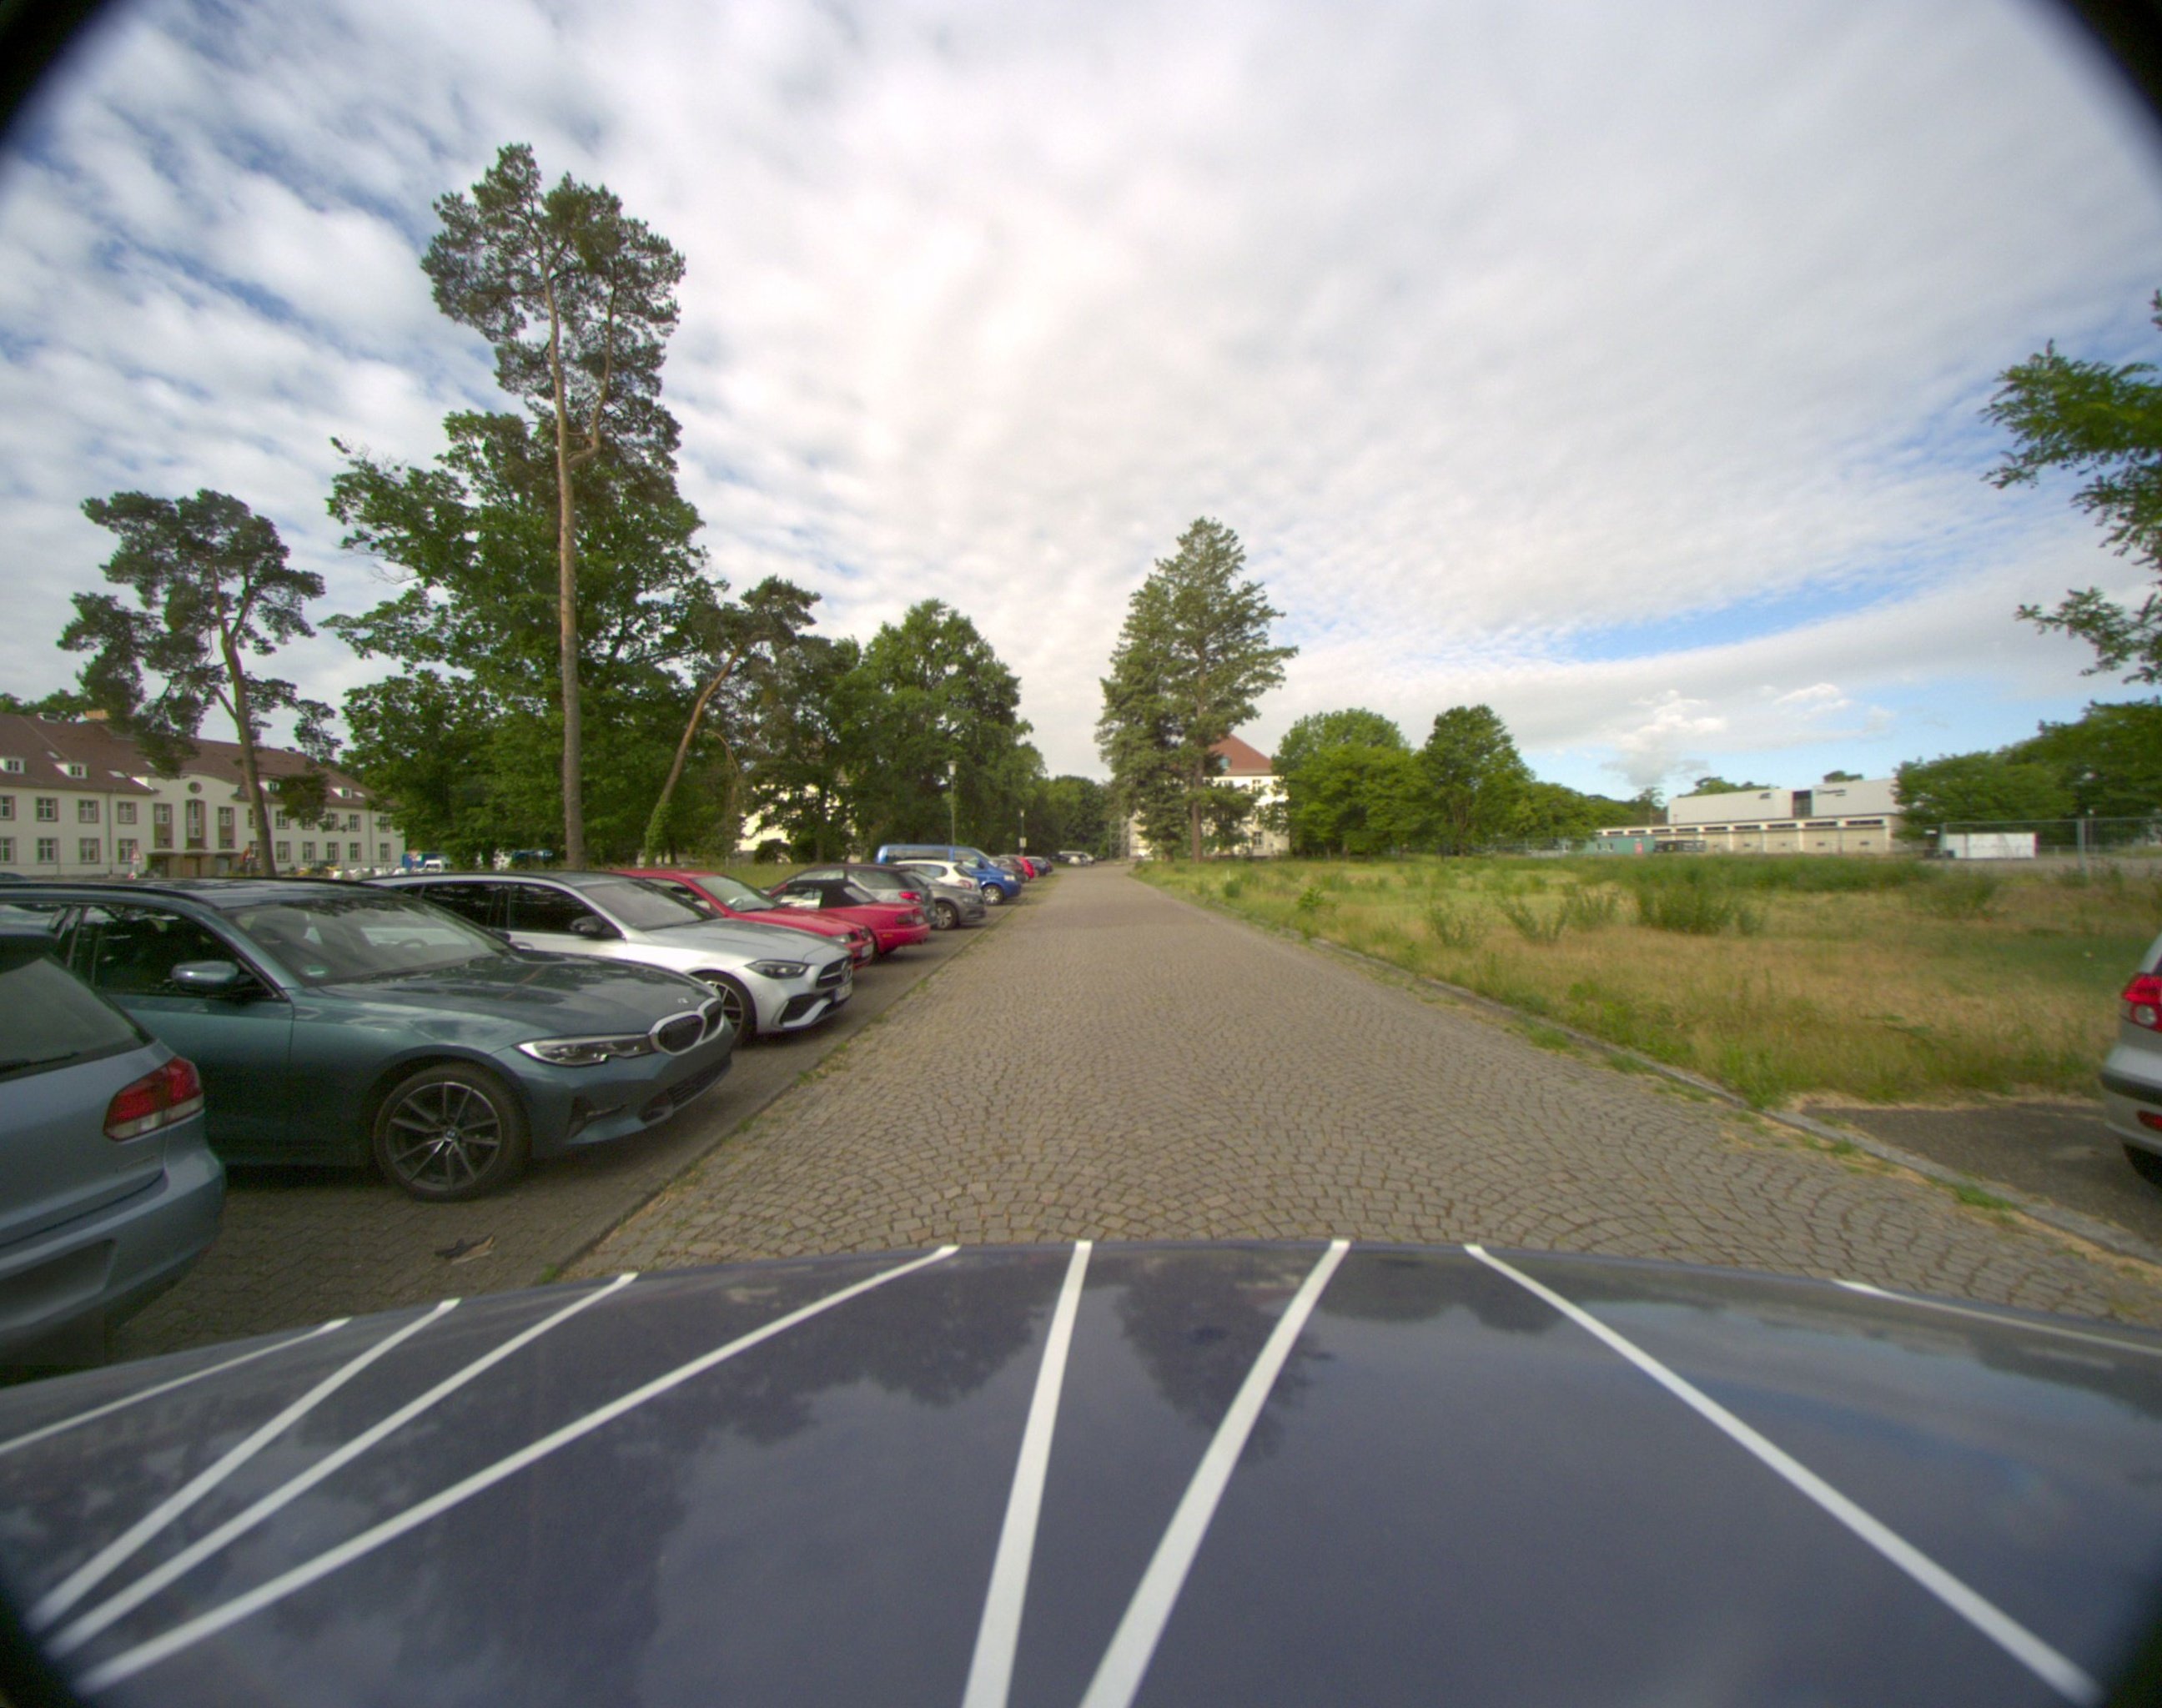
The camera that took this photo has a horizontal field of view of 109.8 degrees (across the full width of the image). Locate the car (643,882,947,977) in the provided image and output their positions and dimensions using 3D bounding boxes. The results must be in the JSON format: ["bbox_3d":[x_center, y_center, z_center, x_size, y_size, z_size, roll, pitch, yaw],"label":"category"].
[{"bbox_3d":[-4.210,1.108,11.643,3.932,1.227,1.797,-1,1,1],"label":"car"}]

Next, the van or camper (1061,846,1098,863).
[{"bbox_3d":[-0.258,0.062,108.275,5.248,2.449,2.208,-1,1,-2],"label":"van or camper"}]

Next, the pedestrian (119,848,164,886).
[{"bbox_3d":[-54.429,0.746,44.033,1.184,2.165,1.056,-1,1,0],"label":"pedestrian"}]

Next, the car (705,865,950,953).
[{"bbox_3d":[-4.592,0.975,14.184,3.932,1.467,1.797,-1,1,1],"label":"car"}]

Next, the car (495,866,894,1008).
[{"bbox_3d":[-4.513,0.937,9.288,3.932,1.504,1.797,-1,1,3],"label":"car"}]

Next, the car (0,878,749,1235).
[{"bbox_3d":[-4.536,0.907,4.141,4.630,1.437,1.796,-1,1,1],"label":"car"}]

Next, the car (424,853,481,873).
[{"bbox_3d":[-67.790,0.960,82.067,2.166,2.002,4.833,-1,0,-1],"label":"car"}]

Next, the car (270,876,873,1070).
[{"bbox_3d":[-4.287,0.970,6.865,4.266,1.437,1.797,-1,1,3],"label":"car"}]

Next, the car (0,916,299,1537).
[{"bbox_3d":[-4.564,0.936,1.561,3.997,1.410,1.796,-1,1,0],"label":"car"}]

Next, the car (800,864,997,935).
[{"bbox_3d":[-3.960,0.967,16.964,3.933,1.427,1.796,-1,1,1],"label":"car"}]

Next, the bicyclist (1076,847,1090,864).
[{"bbox_3d":[0.256,0.144,80.656,1.318,1.857,1.250,-1,1,6],"label":"bicyclist"}]

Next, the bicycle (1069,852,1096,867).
[{"bbox_3d":[0.181,0.561,80.639,2.673,1.496,1.273,-1,1,5],"label":"bicycle"}]

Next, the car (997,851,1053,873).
[{"bbox_3d":[-4.025,0.570,54.785,3.790,1.560,2.000,-1,1,2],"label":"car"}]

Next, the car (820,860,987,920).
[{"bbox_3d":[-4.592,0.922,20.044,3.933,1.441,1.796,-1,1,1],"label":"car"}]

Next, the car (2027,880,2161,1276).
[{"bbox_3d":[6.040,0.780,2.477,3.985,1.447,1.680,-3,1,-3],"label":"car"}]

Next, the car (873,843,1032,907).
[{"bbox_3d":[-4.195,0.674,25.247,4.839,2.002,2.000,-1,1,4],"label":"car"}]

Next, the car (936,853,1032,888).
[{"bbox_3d":[-4.290,0.730,34.182,3.996,1.496,1.869,-1,1,3],"label":"car"}]

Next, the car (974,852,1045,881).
[{"bbox_3d":[-4.144,0.718,44.476,3.998,1.560,1.999,-1,1,-3],"label":"car"}]

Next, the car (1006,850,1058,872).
[{"bbox_3d":[-3.797,0.525,59.264,3.790,1.615,2.000,-1,1,2],"label":"car"}]
